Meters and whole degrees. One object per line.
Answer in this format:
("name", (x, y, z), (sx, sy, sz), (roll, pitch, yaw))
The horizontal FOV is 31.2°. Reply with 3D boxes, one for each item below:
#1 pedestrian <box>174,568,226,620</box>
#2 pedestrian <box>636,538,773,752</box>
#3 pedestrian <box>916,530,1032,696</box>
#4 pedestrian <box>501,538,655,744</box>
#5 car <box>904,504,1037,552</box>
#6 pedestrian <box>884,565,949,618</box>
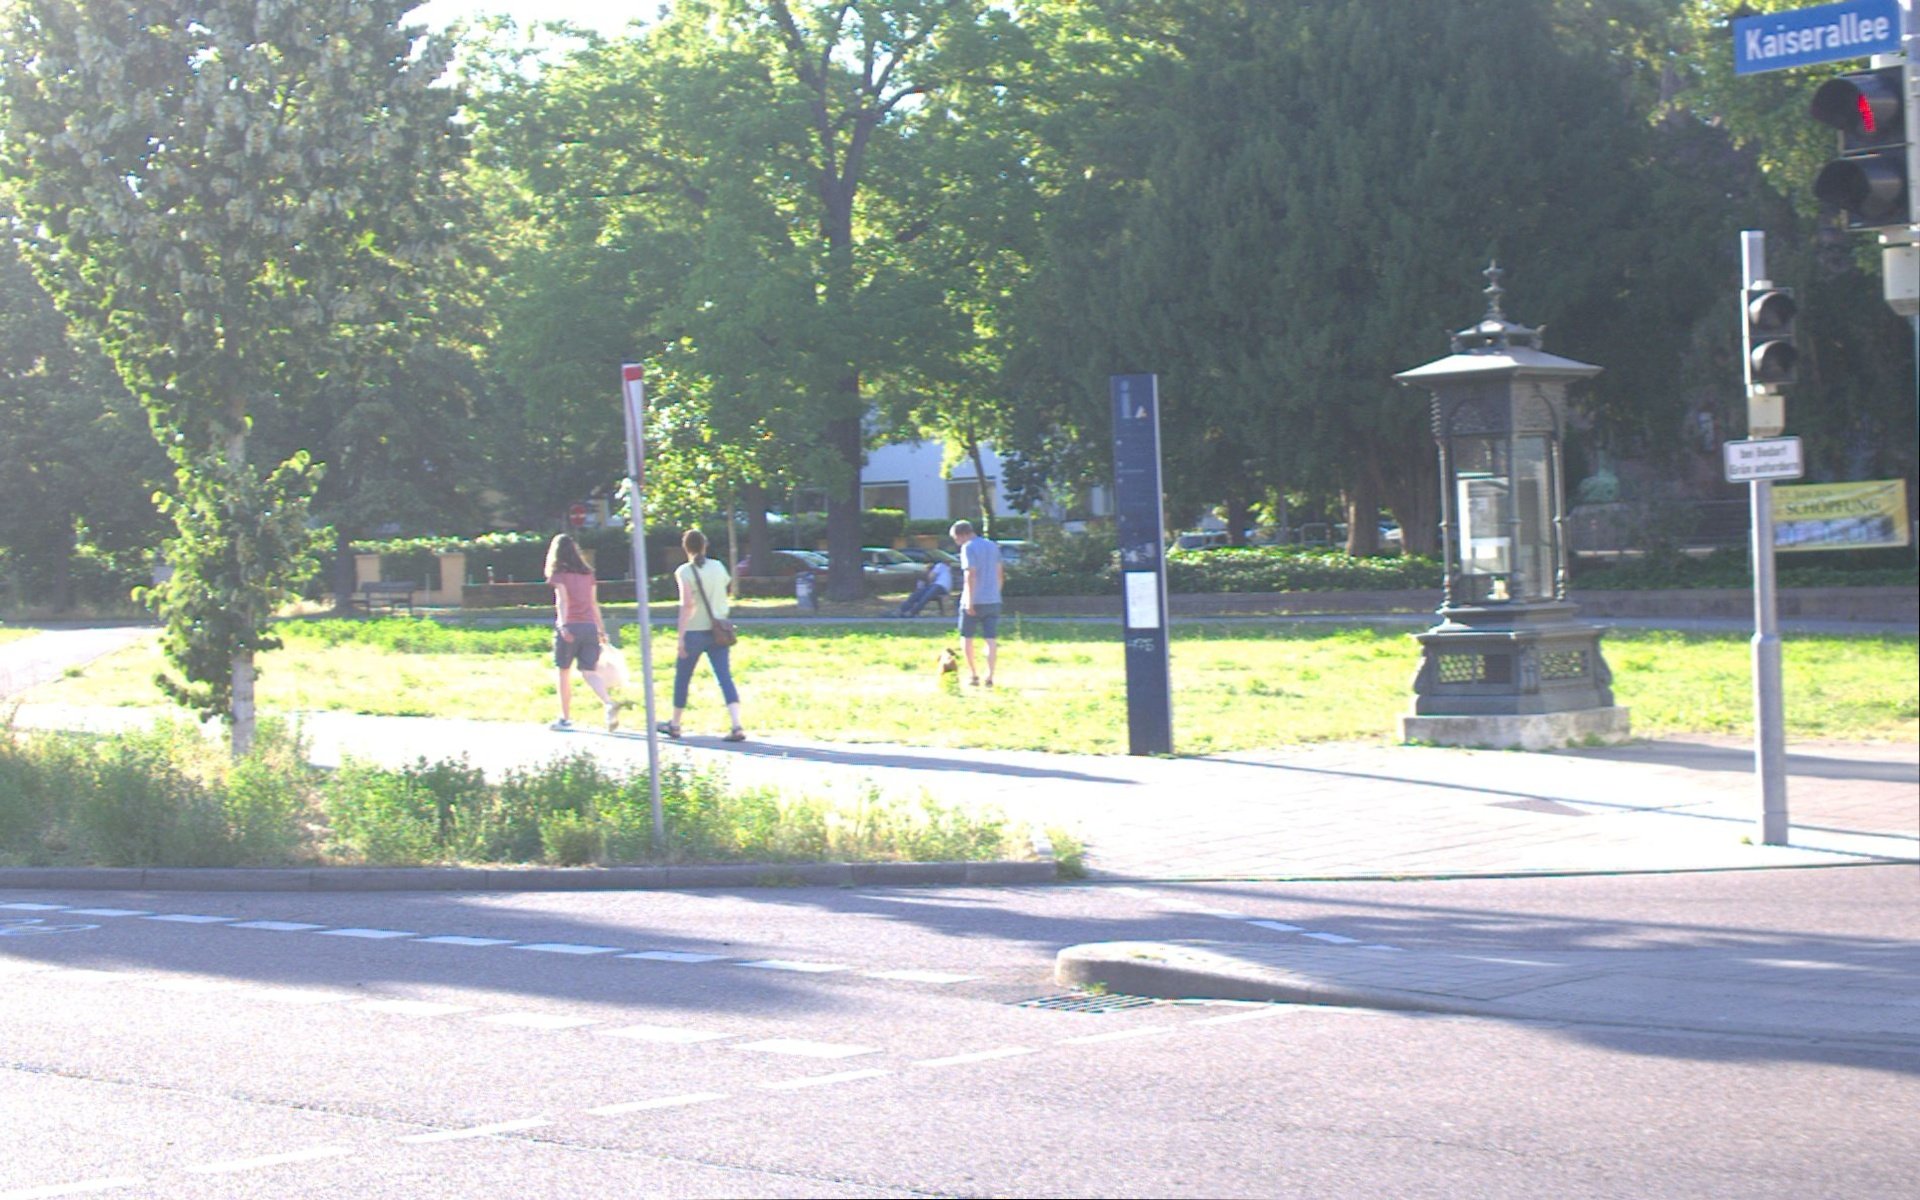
("pedestrian", (-17.825, -0.151, 80.669), (0.844, 1.183, 0.811), (-1, 1, 43))
("pedestrian", (-2.077, 0.350, 27.941), (0.708, 1.690, 0.896), (-2, 2, -36))
("pedestrian", (0.143, 0.121, 36.192), (0.842, 1.690, 1.017), (-2, 2, -24))
("pedestrian", (-3.253, 0.331, 29.253), (0.842, 1.690, 1.016), (-3, 2, -39))
("car", (0.390, -2.637, 126.167), (4.458, 1.566, 1.996), (-1, 1, 33))
("pedestrian", (-0.813, -0.156, 64.564), (0.802, 0.950, 1.173), (0, 2, 23))
